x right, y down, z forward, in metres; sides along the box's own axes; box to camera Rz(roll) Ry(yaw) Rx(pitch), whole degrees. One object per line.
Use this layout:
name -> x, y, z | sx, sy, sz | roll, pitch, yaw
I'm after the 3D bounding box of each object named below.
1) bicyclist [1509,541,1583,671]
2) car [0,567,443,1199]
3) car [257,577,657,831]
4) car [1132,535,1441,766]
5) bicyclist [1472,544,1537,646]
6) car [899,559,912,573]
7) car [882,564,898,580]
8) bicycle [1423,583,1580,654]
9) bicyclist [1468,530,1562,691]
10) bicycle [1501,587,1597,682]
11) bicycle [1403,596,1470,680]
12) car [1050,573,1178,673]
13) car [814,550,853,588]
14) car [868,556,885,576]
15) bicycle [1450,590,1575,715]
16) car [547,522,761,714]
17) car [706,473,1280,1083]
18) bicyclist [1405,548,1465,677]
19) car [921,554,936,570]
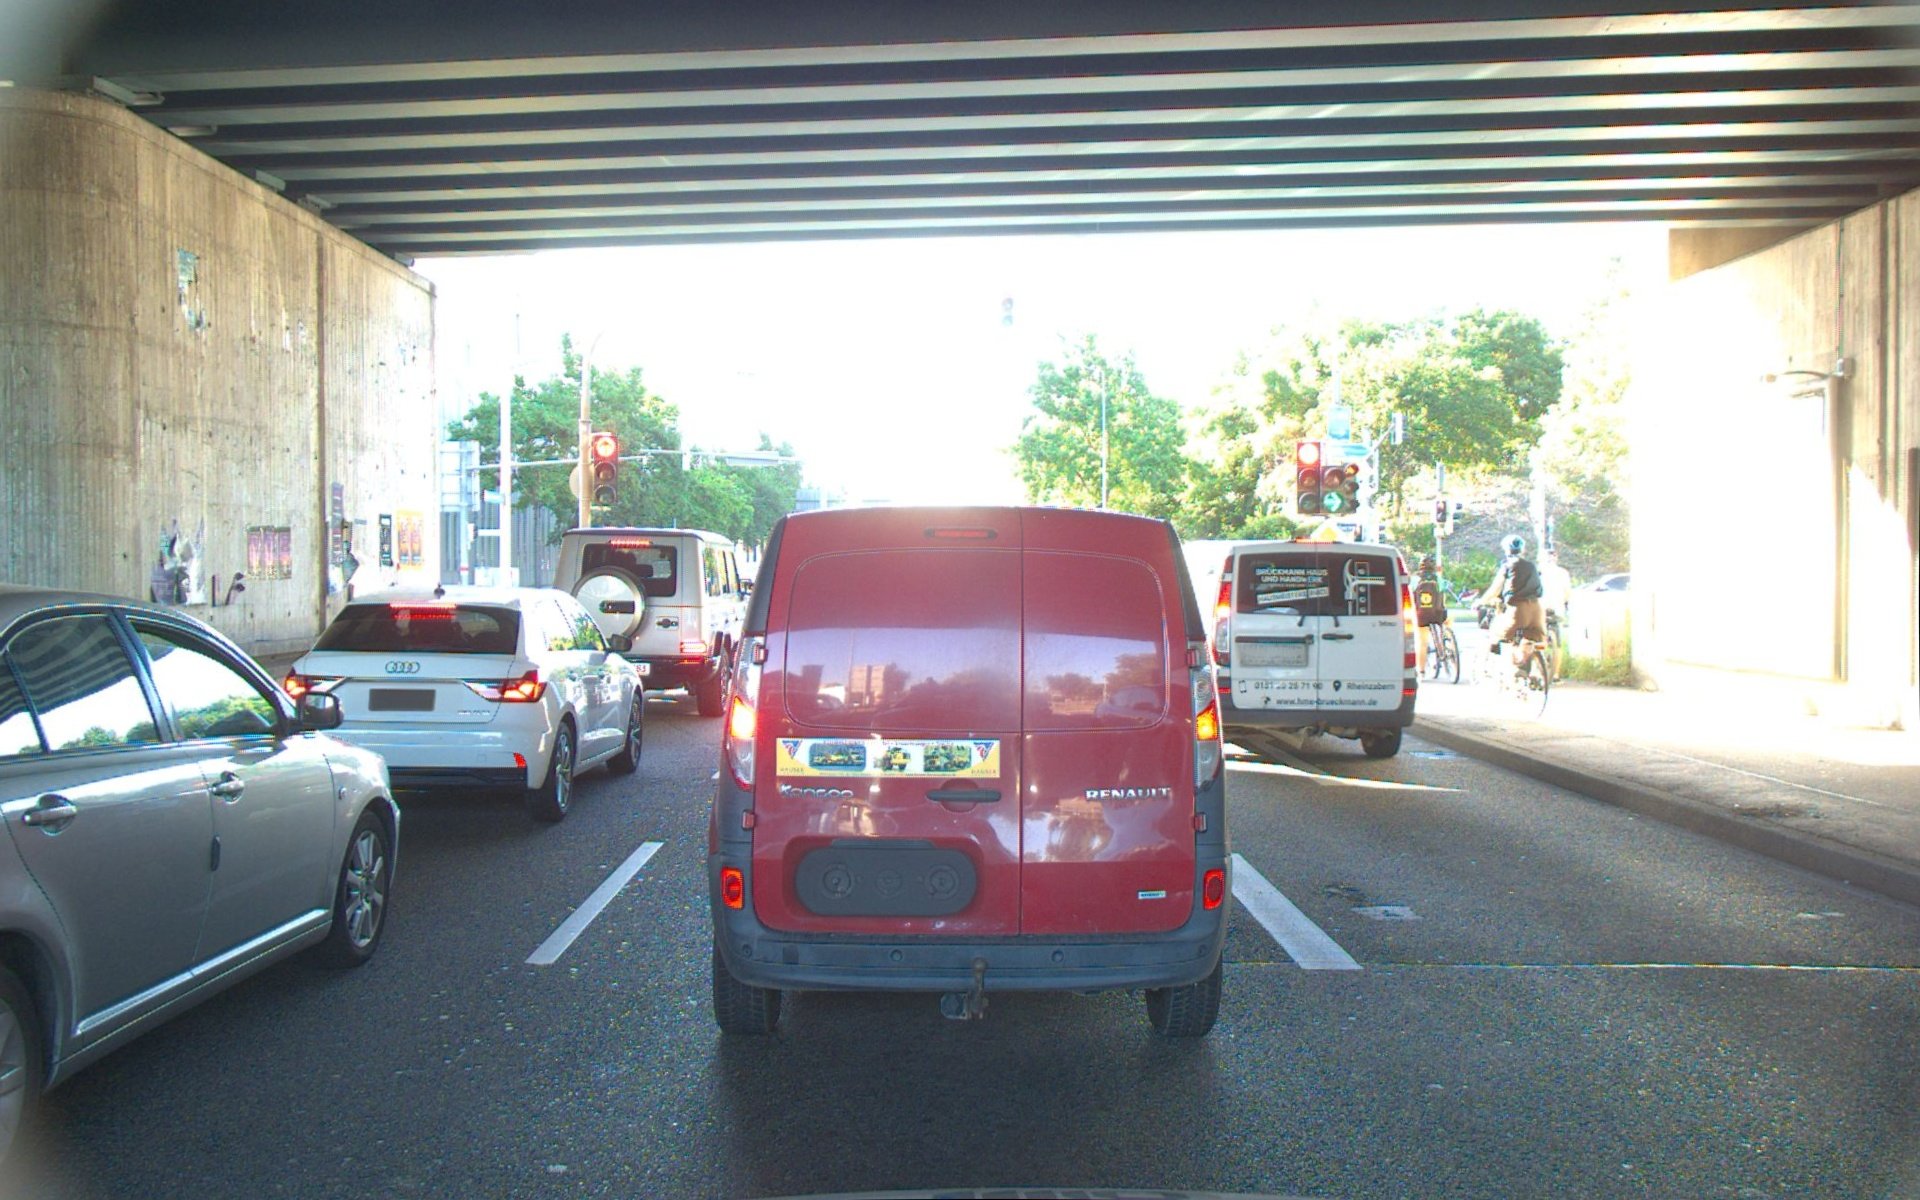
bicyclist -> 7.323, 0.071, 20.691 | 0.656, 1.589, 0.735 | 0, 0, 1
car -> -3.000, 0.645, 4.853 | 1.662, 1.480, 4.397 | 1, 0, -2
car -> -3.233, 0.586, 11.405 | 1.658, 1.435, 3.812 | 1, 0, -2
car -> 2.935, 0.385, 15.991 | 1.859, 1.868, 4.834 | 1, 1, -2
bicyclist -> 9.197, -0.085, 27.962 | 0.865, 1.684, 0.749 | 0, 0, 2
car -> -8.556, -5.331, 259.132 | 1.890, 2.049, 3.913 | 1, 0, -1
car -> -9.162, -3.662, 216.722 | 1.953, 2.049, 3.999 | 1, 0, -1
bicycle -> 9.135, 0.300, 27.973 | 2.410, 1.166, 0.768 | 0, 0, 2
bicyclist -> 5.555, 0.103, 16.592 | 0.639, 1.561, 0.847 | 0, 0, -1
bicycle -> 7.324, 0.417, 20.623 | 0.667, 1.132, 1.604 | 0, 0, 2
bicycle -> 6.220, 0.489, 21.664 | 0.662, 1.042, 1.530 | 1, 0, 10
car -> 2.432, 0.337, 26.856 | 1.710, 1.481, 3.716 | 1, 0, 0
car -> -7.229, -1.740, 94.715 | 1.953, 2.049, 3.999 | 1, 0, -1
car -> -9.151, -3.762, 181.918 | 1.712, 2.049, 3.843 | 1, 0, -1
bicycle -> 5.550, 0.500, 16.709 | 0.637, 1.188, 1.778 | 0, 0, -1
car -> -3.348, 0.173, 18.760 | 1.777, 1.937, 3.812 | 1, 0, -2
car -> 0.072, 0.520, 6.924 | 1.684, 1.795, 3.999 | 1, 0, -1
bicyclist -> 6.243, 0.164, 21.756 | 0.663, 1.657, 0.644 | 1, 0, 10
car -> -4.230, -5.031, 220.617 | 1.953, 2.049, 3.999 | 1, 0, -1
